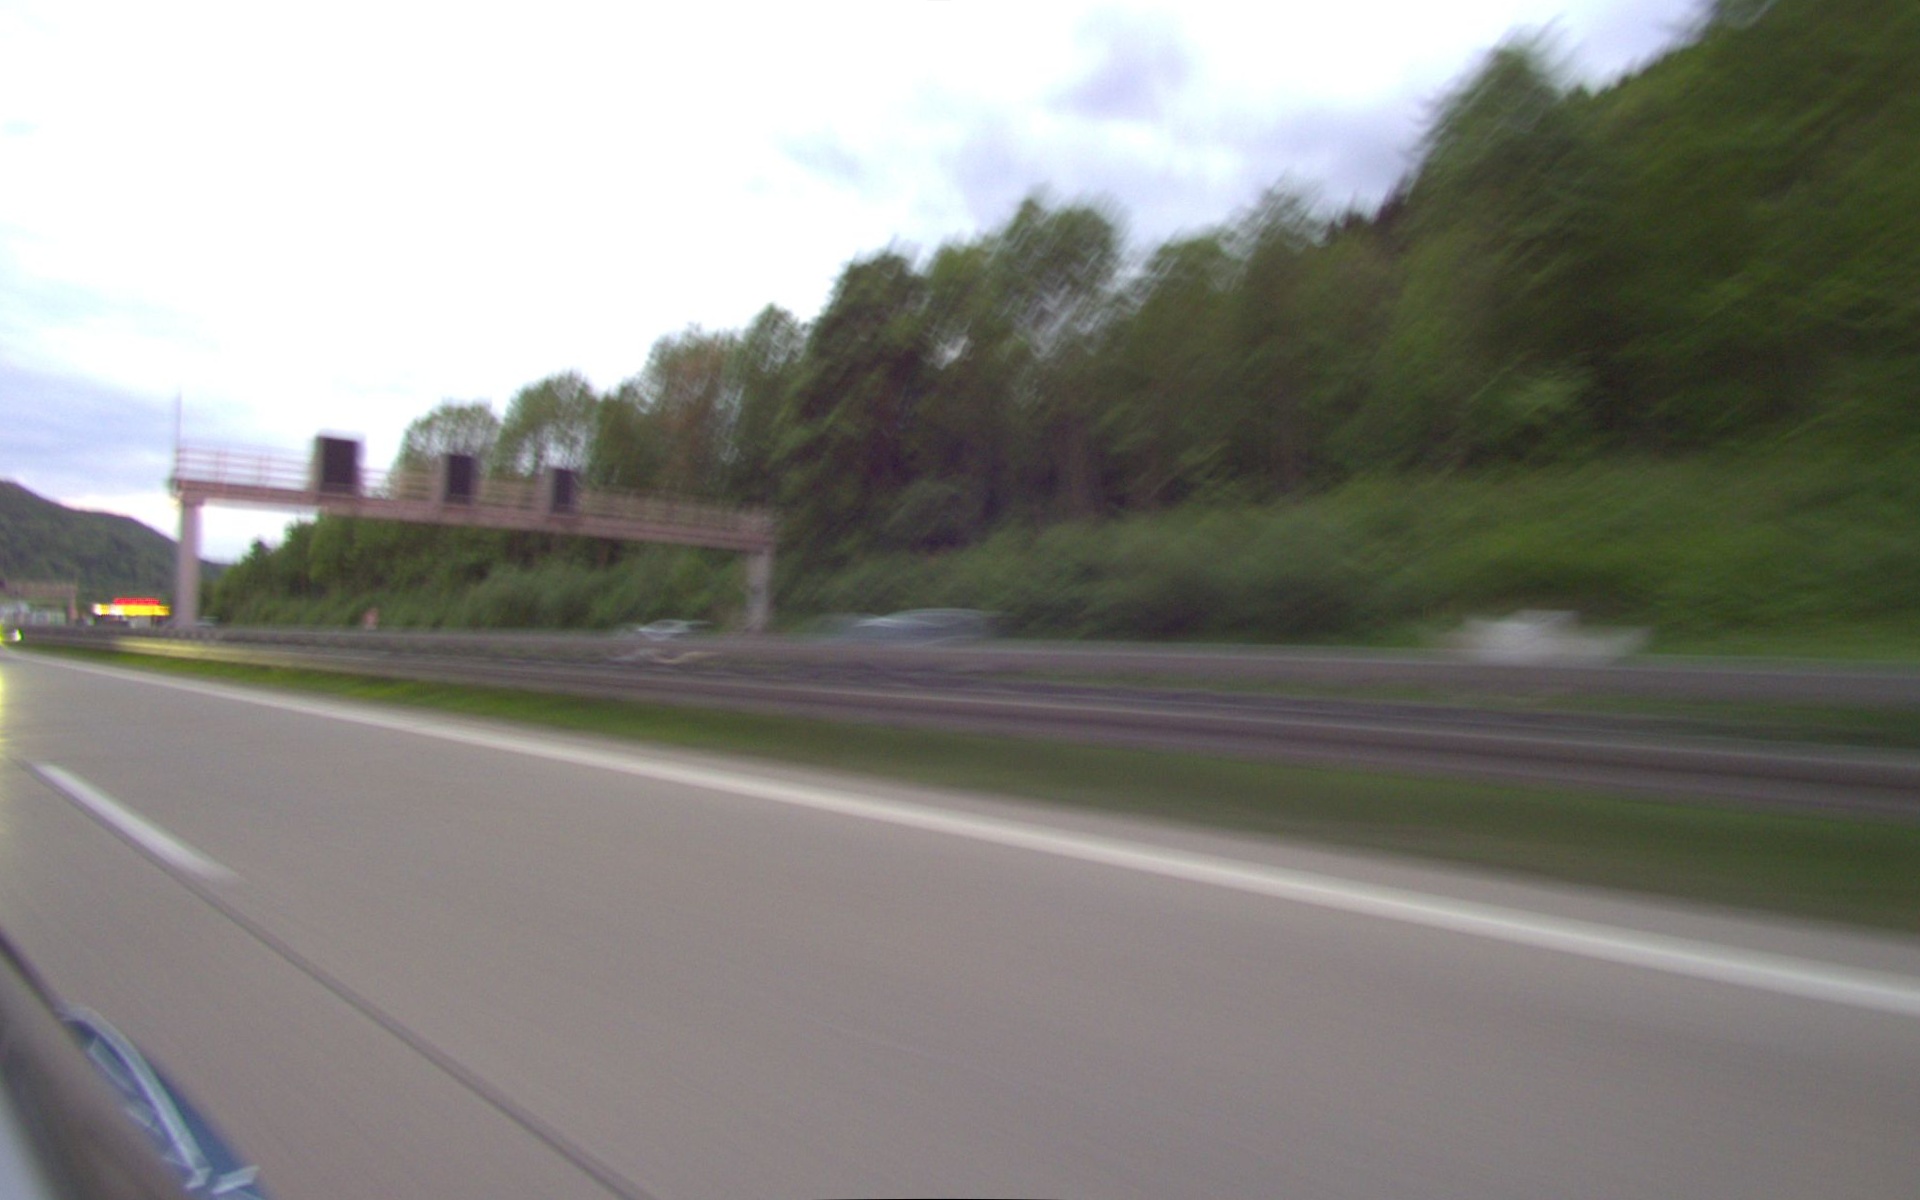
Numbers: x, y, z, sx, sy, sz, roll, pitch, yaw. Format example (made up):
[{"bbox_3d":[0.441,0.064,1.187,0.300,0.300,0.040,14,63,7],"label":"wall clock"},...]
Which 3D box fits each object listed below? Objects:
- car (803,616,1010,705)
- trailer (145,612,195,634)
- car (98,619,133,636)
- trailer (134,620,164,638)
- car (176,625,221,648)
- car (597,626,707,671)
[{"bbox_3d":[-1.213,1.199,21.553,4.456,1.707,1.744,-1,-1,41],"label":"car"},{"bbox_3d":[-144.182,4.205,184.875,3.018,3.707,13.384,0,-1,-19],"label":"trailer"},{"bbox_3d":[-85.270,2.758,102.102,5.657,1.747,1.829,-1,-1,41],"label":"car"},{"bbox_3d":[-168.863,6.077,210.696,12.712,3.707,2.843,-2,-2,42],"label":"trailer"},{"bbox_3d":[-59.205,2.818,78.672,4.773,1.651,1.829,-1,-1,41],"label":"car"},{"bbox_3d":[-11.134,1.711,36.412,4.388,1.493,1.744,-1,-1,41],"label":"car"}]
